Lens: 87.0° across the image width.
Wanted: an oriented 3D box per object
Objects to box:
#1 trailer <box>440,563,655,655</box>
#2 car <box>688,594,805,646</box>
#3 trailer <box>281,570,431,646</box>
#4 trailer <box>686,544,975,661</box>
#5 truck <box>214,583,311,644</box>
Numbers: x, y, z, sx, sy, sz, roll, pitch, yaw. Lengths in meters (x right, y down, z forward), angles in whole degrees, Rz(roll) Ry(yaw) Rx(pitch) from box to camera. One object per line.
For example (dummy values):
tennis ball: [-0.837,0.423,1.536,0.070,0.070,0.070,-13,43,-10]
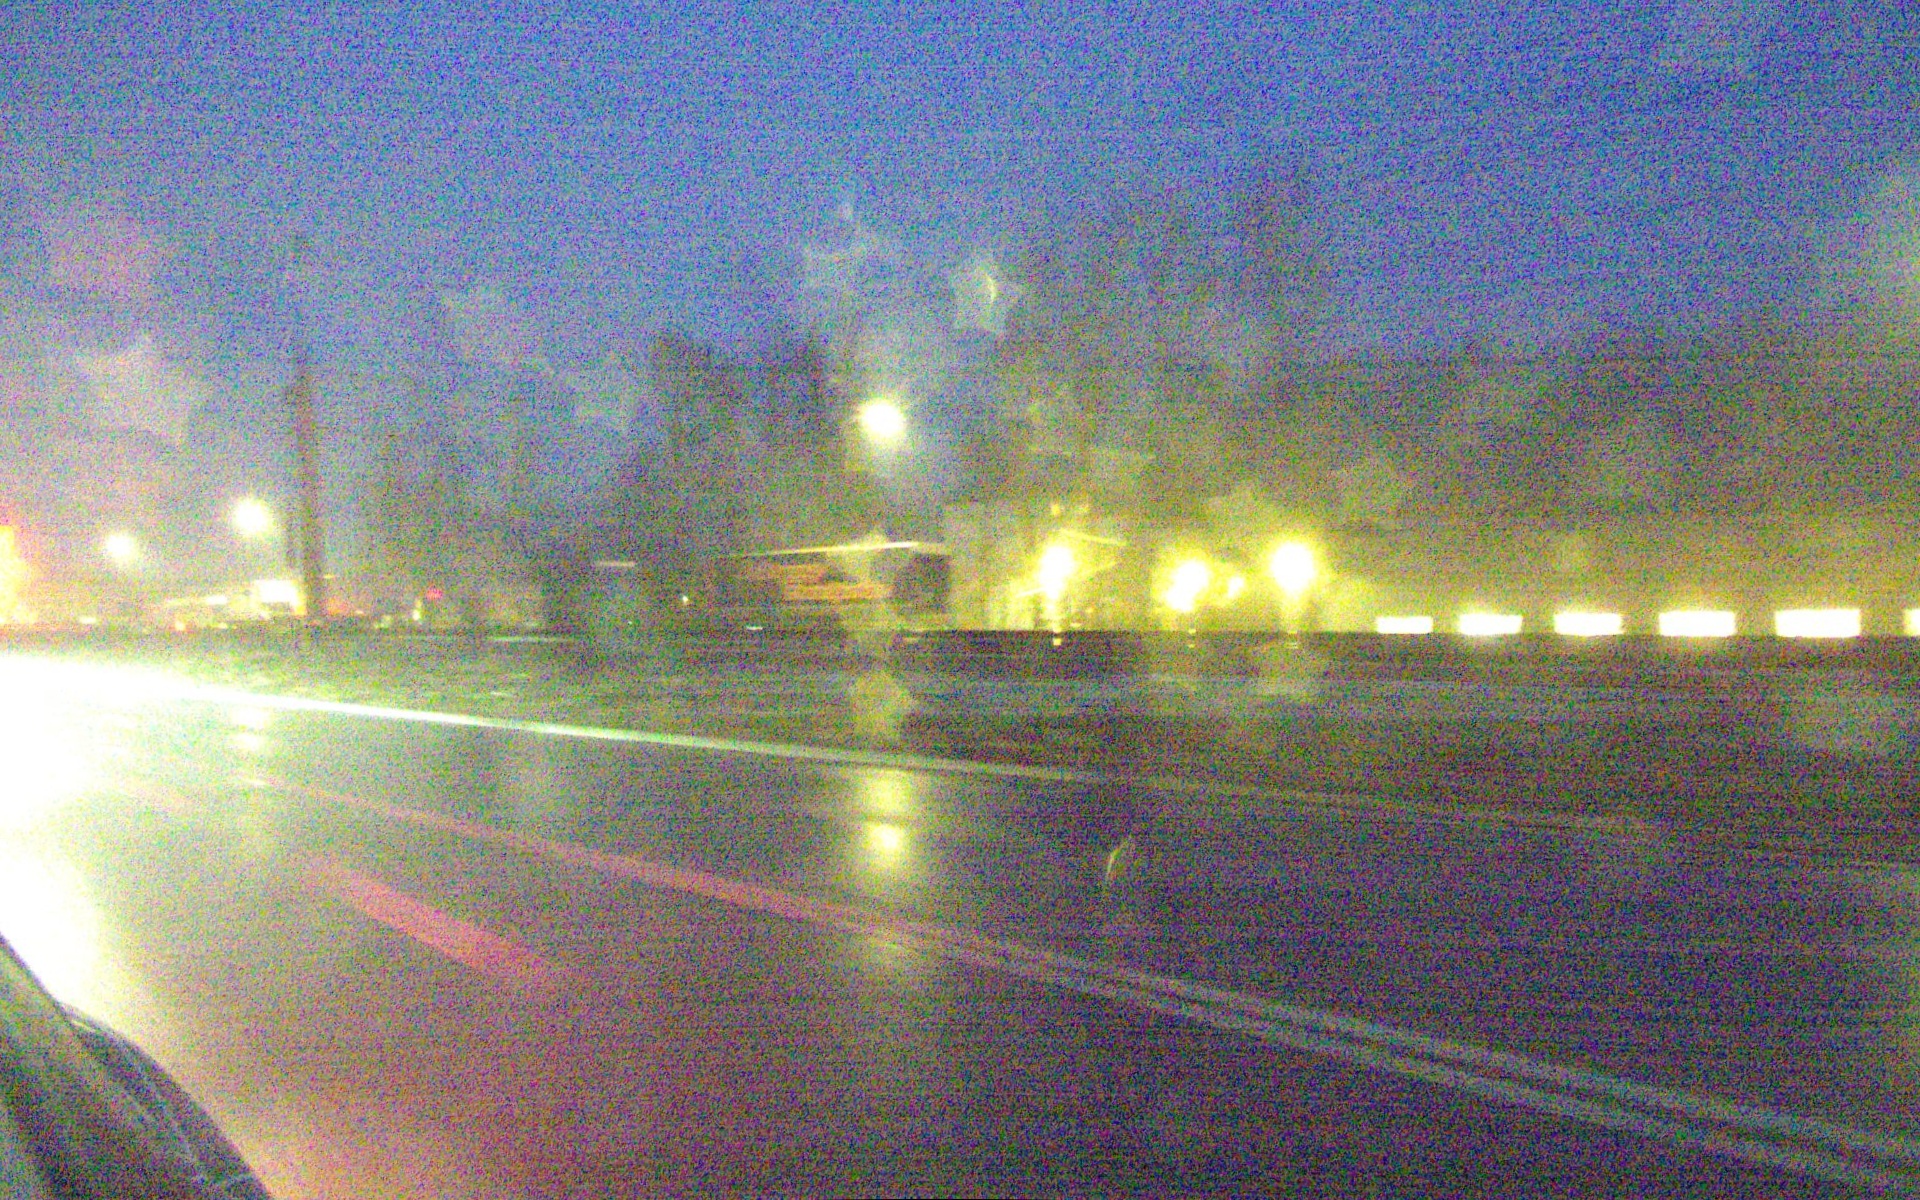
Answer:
trailer: [-24.343,0.536,59.000,15.486,4.643,3.936,-1,3,37]
car: [-7.842,0.759,37.017,4.209,1.706,1.771,-3,0,36]
trailer: [-44.942,0.600,74.985,14.808,5.049,3.936,-1,3,37]
trailer: [-6.295,0.114,46.463,14.221,4.643,3.936,-1,3,37]
truck: [-58.725,1.118,85.087,10.194,4.643,3.409,-1,3,37]
